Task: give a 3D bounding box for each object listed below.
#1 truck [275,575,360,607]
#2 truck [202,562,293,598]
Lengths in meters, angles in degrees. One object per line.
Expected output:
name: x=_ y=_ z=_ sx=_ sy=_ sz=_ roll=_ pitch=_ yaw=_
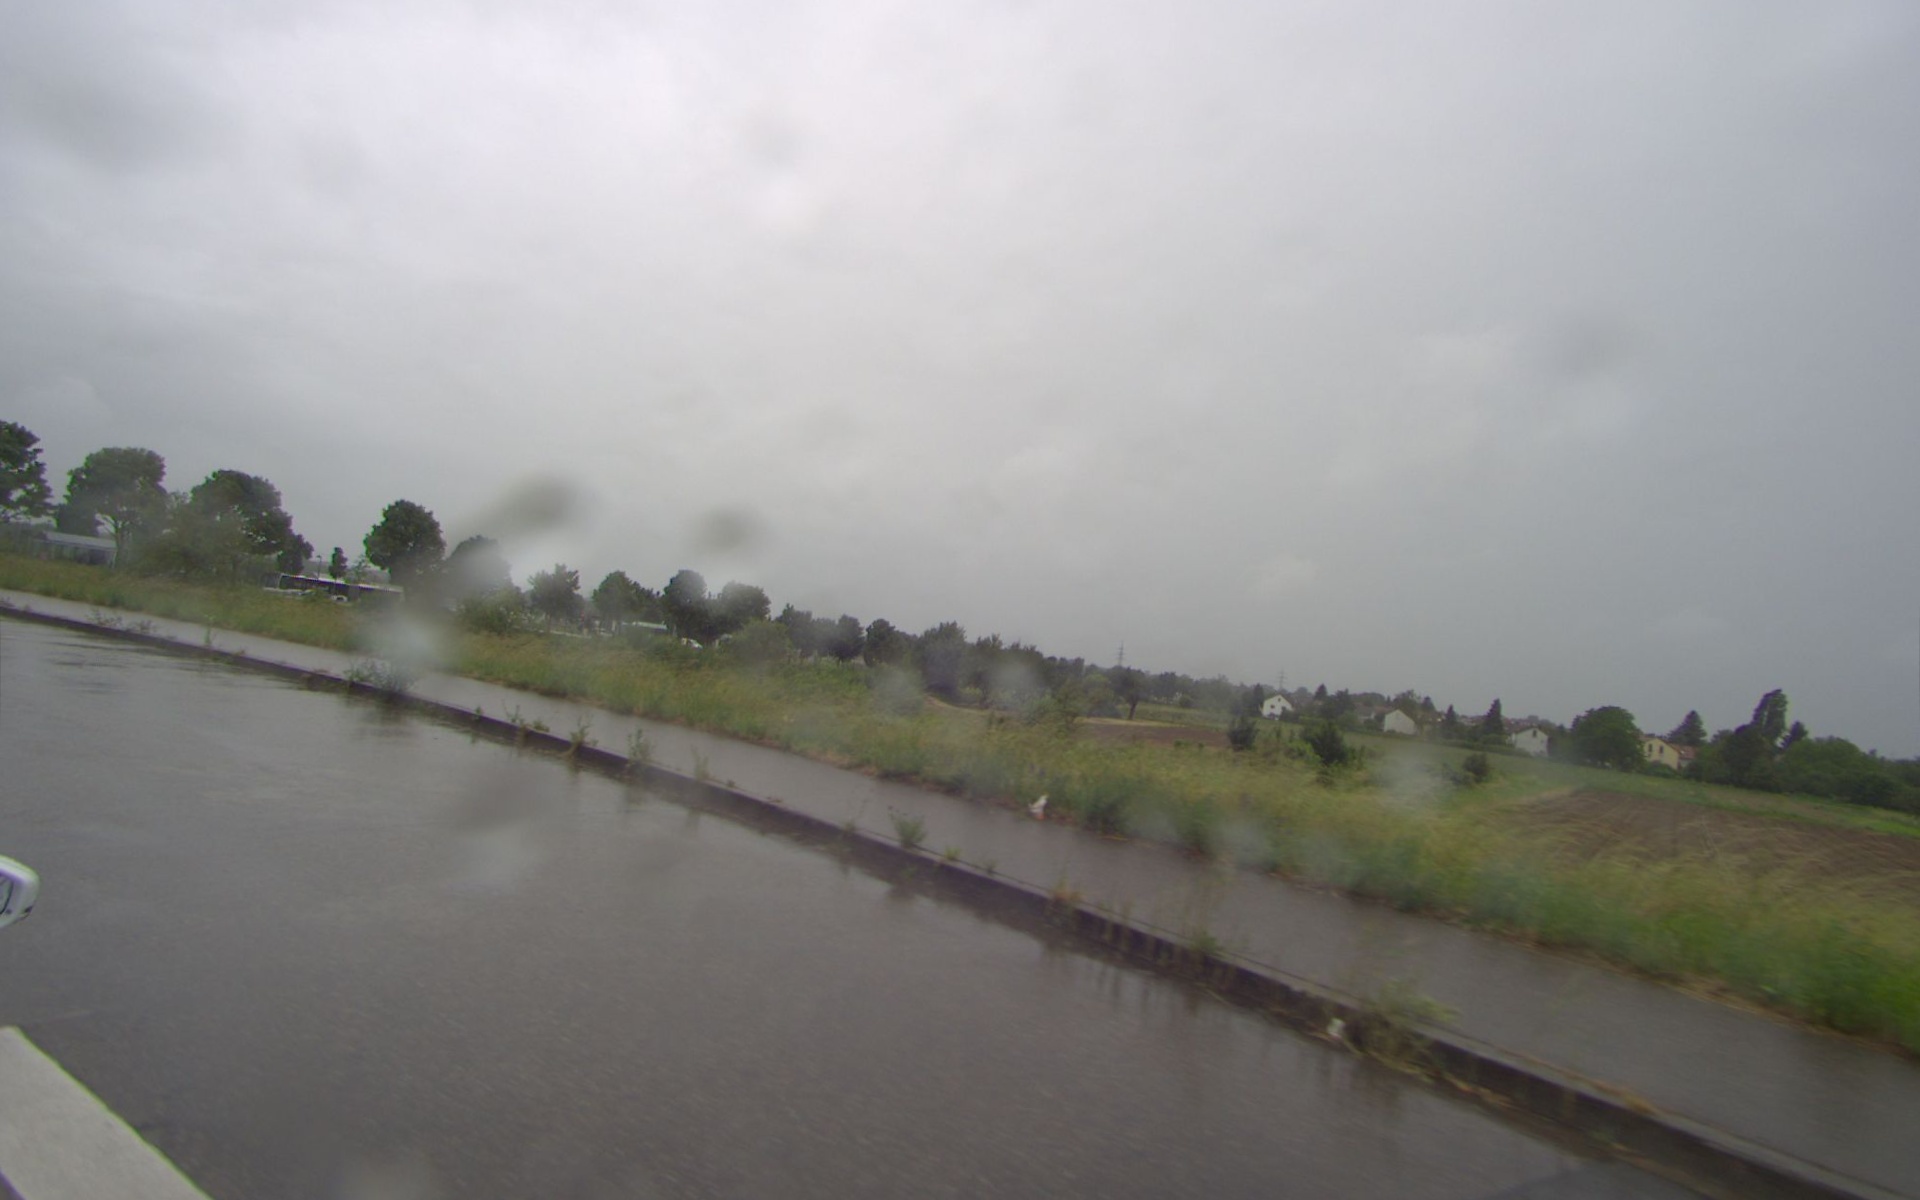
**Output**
truck: x=-82.156 y=-1.077 z=128.910 sx=2.606 sy=2.801 sz=9.372 roll=6 pitch=-4 yaw=18
truck: x=-84.807 y=-2.317 z=119.975 sx=2.606 sy=2.861 sz=8.866 roll=6 pitch=-4 yaw=17
